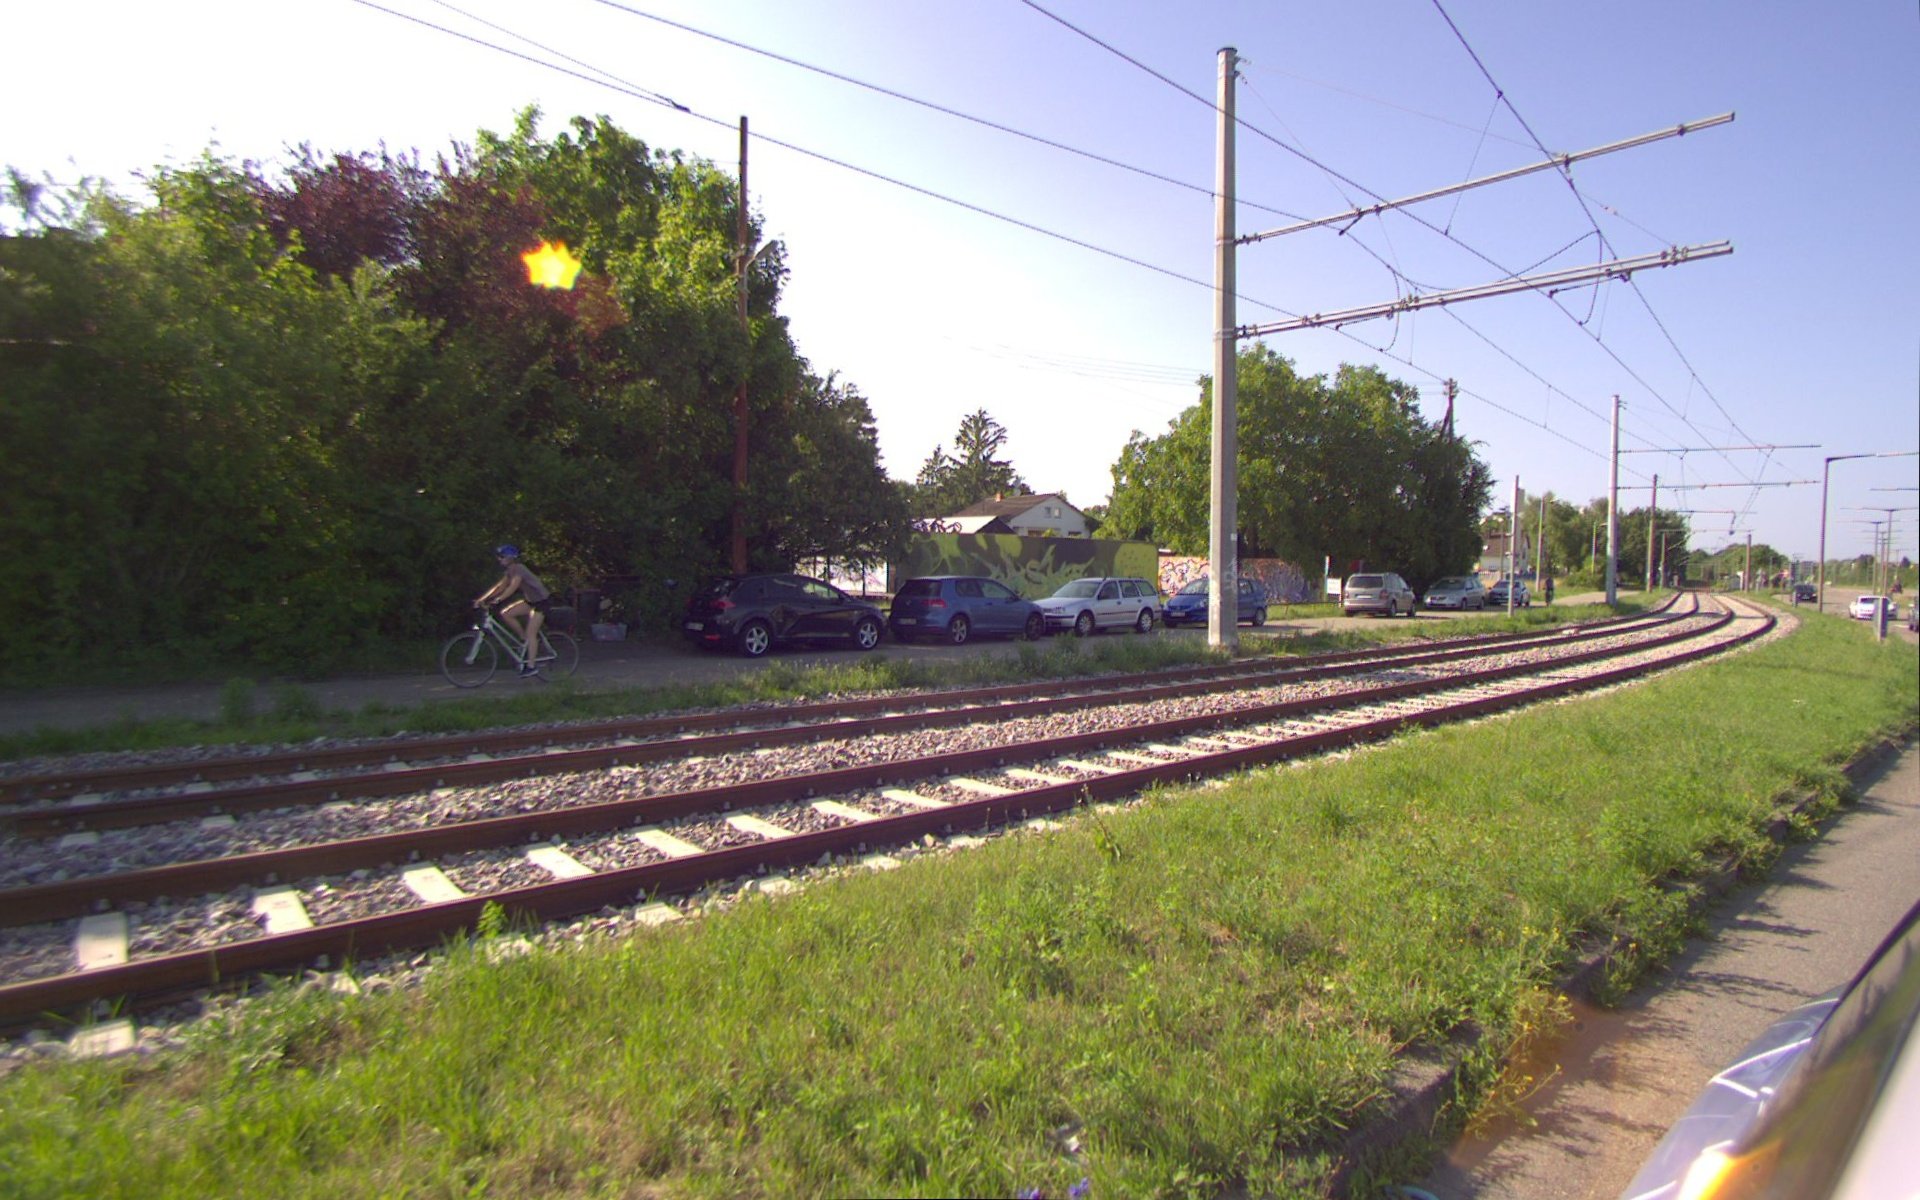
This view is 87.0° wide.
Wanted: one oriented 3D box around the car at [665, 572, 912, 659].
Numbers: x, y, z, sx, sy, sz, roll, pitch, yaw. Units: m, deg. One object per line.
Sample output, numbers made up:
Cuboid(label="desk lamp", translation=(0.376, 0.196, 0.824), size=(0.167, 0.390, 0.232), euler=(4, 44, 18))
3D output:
Cuboid(label="car", translation=(-3.070, 0.224, 18.842), size=(1.623, 1.428, 4.450), euler=(0, 1, 44))

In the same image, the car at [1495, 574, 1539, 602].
Cuboid(label="car", translation=(31.289, -0.671, 56.805), size=(1.531, 1.466, 4.075), euler=(3, 2, 37))

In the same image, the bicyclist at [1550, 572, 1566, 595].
Cuboid(label="bicyclist", translation=(33.718, -0.930, 57.056), size=(0.638, 1.248, 0.780), euler=(1, 1, 40))

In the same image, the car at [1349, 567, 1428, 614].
Cuboid(label="car", translation=(16.242, -0.392, 38.249), size=(1.520, 1.630, 4.420), euler=(3, 2, 39))

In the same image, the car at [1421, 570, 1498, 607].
Cuboid(label="car", translation=(23.557, -0.571, 47.665), size=(1.908, 1.610, 4.652), euler=(3, 3, 44))

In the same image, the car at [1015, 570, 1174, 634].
Cuboid(label="car", translation=(3.511, 0.013, 25.983), size=(4.316, 1.483, 1.711), euler=(0, 2, -43))

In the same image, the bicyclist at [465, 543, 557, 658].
Cuboid(label="bicyclist", translation=(-5.835, -0.004, 13.163), size=(0.946, 1.440, 0.630), euler=(-1, 1, -43))

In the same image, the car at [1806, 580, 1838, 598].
Cuboid(label="car", translation=(76.388, -0.961, 89.742), size=(1.827, 1.532, 4.099), euler=(0, 0, 36))

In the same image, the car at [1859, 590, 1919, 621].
Cuboid(label="car", translation=(54.161, 0.284, 59.039), size=(1.957, 1.638, 4.255), euler=(2, 2, 34))

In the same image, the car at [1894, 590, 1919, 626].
Cuboid(label="car", translation=(43.047, 0.343, 45.317), size=(1.601, 1.532, 4.206), euler=(0, 0, 40))

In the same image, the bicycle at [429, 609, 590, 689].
Cuboid(label="bicycle", translation=(-5.835, 0.609, 13.176), size=(1.813, 0.921, 0.643), euler=(-1, 1, -43))

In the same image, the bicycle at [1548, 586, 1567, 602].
Cuboid(label="bicycle", translation=(33.712, -0.352, 57.058), size=(0.642, 0.921, 1.787), euler=(1, 1, 40))

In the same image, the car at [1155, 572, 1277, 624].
Cuboid(label="car", translation=(7.674, -0.074, 30.153), size=(3.844, 1.448, 1.680), euler=(0, 0, -42))

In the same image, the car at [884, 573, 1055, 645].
Cuboid(label="car", translation=(0.297, 0.138, 22.310), size=(1.483, 1.418, 4.088), euler=(2, 2, 41))
